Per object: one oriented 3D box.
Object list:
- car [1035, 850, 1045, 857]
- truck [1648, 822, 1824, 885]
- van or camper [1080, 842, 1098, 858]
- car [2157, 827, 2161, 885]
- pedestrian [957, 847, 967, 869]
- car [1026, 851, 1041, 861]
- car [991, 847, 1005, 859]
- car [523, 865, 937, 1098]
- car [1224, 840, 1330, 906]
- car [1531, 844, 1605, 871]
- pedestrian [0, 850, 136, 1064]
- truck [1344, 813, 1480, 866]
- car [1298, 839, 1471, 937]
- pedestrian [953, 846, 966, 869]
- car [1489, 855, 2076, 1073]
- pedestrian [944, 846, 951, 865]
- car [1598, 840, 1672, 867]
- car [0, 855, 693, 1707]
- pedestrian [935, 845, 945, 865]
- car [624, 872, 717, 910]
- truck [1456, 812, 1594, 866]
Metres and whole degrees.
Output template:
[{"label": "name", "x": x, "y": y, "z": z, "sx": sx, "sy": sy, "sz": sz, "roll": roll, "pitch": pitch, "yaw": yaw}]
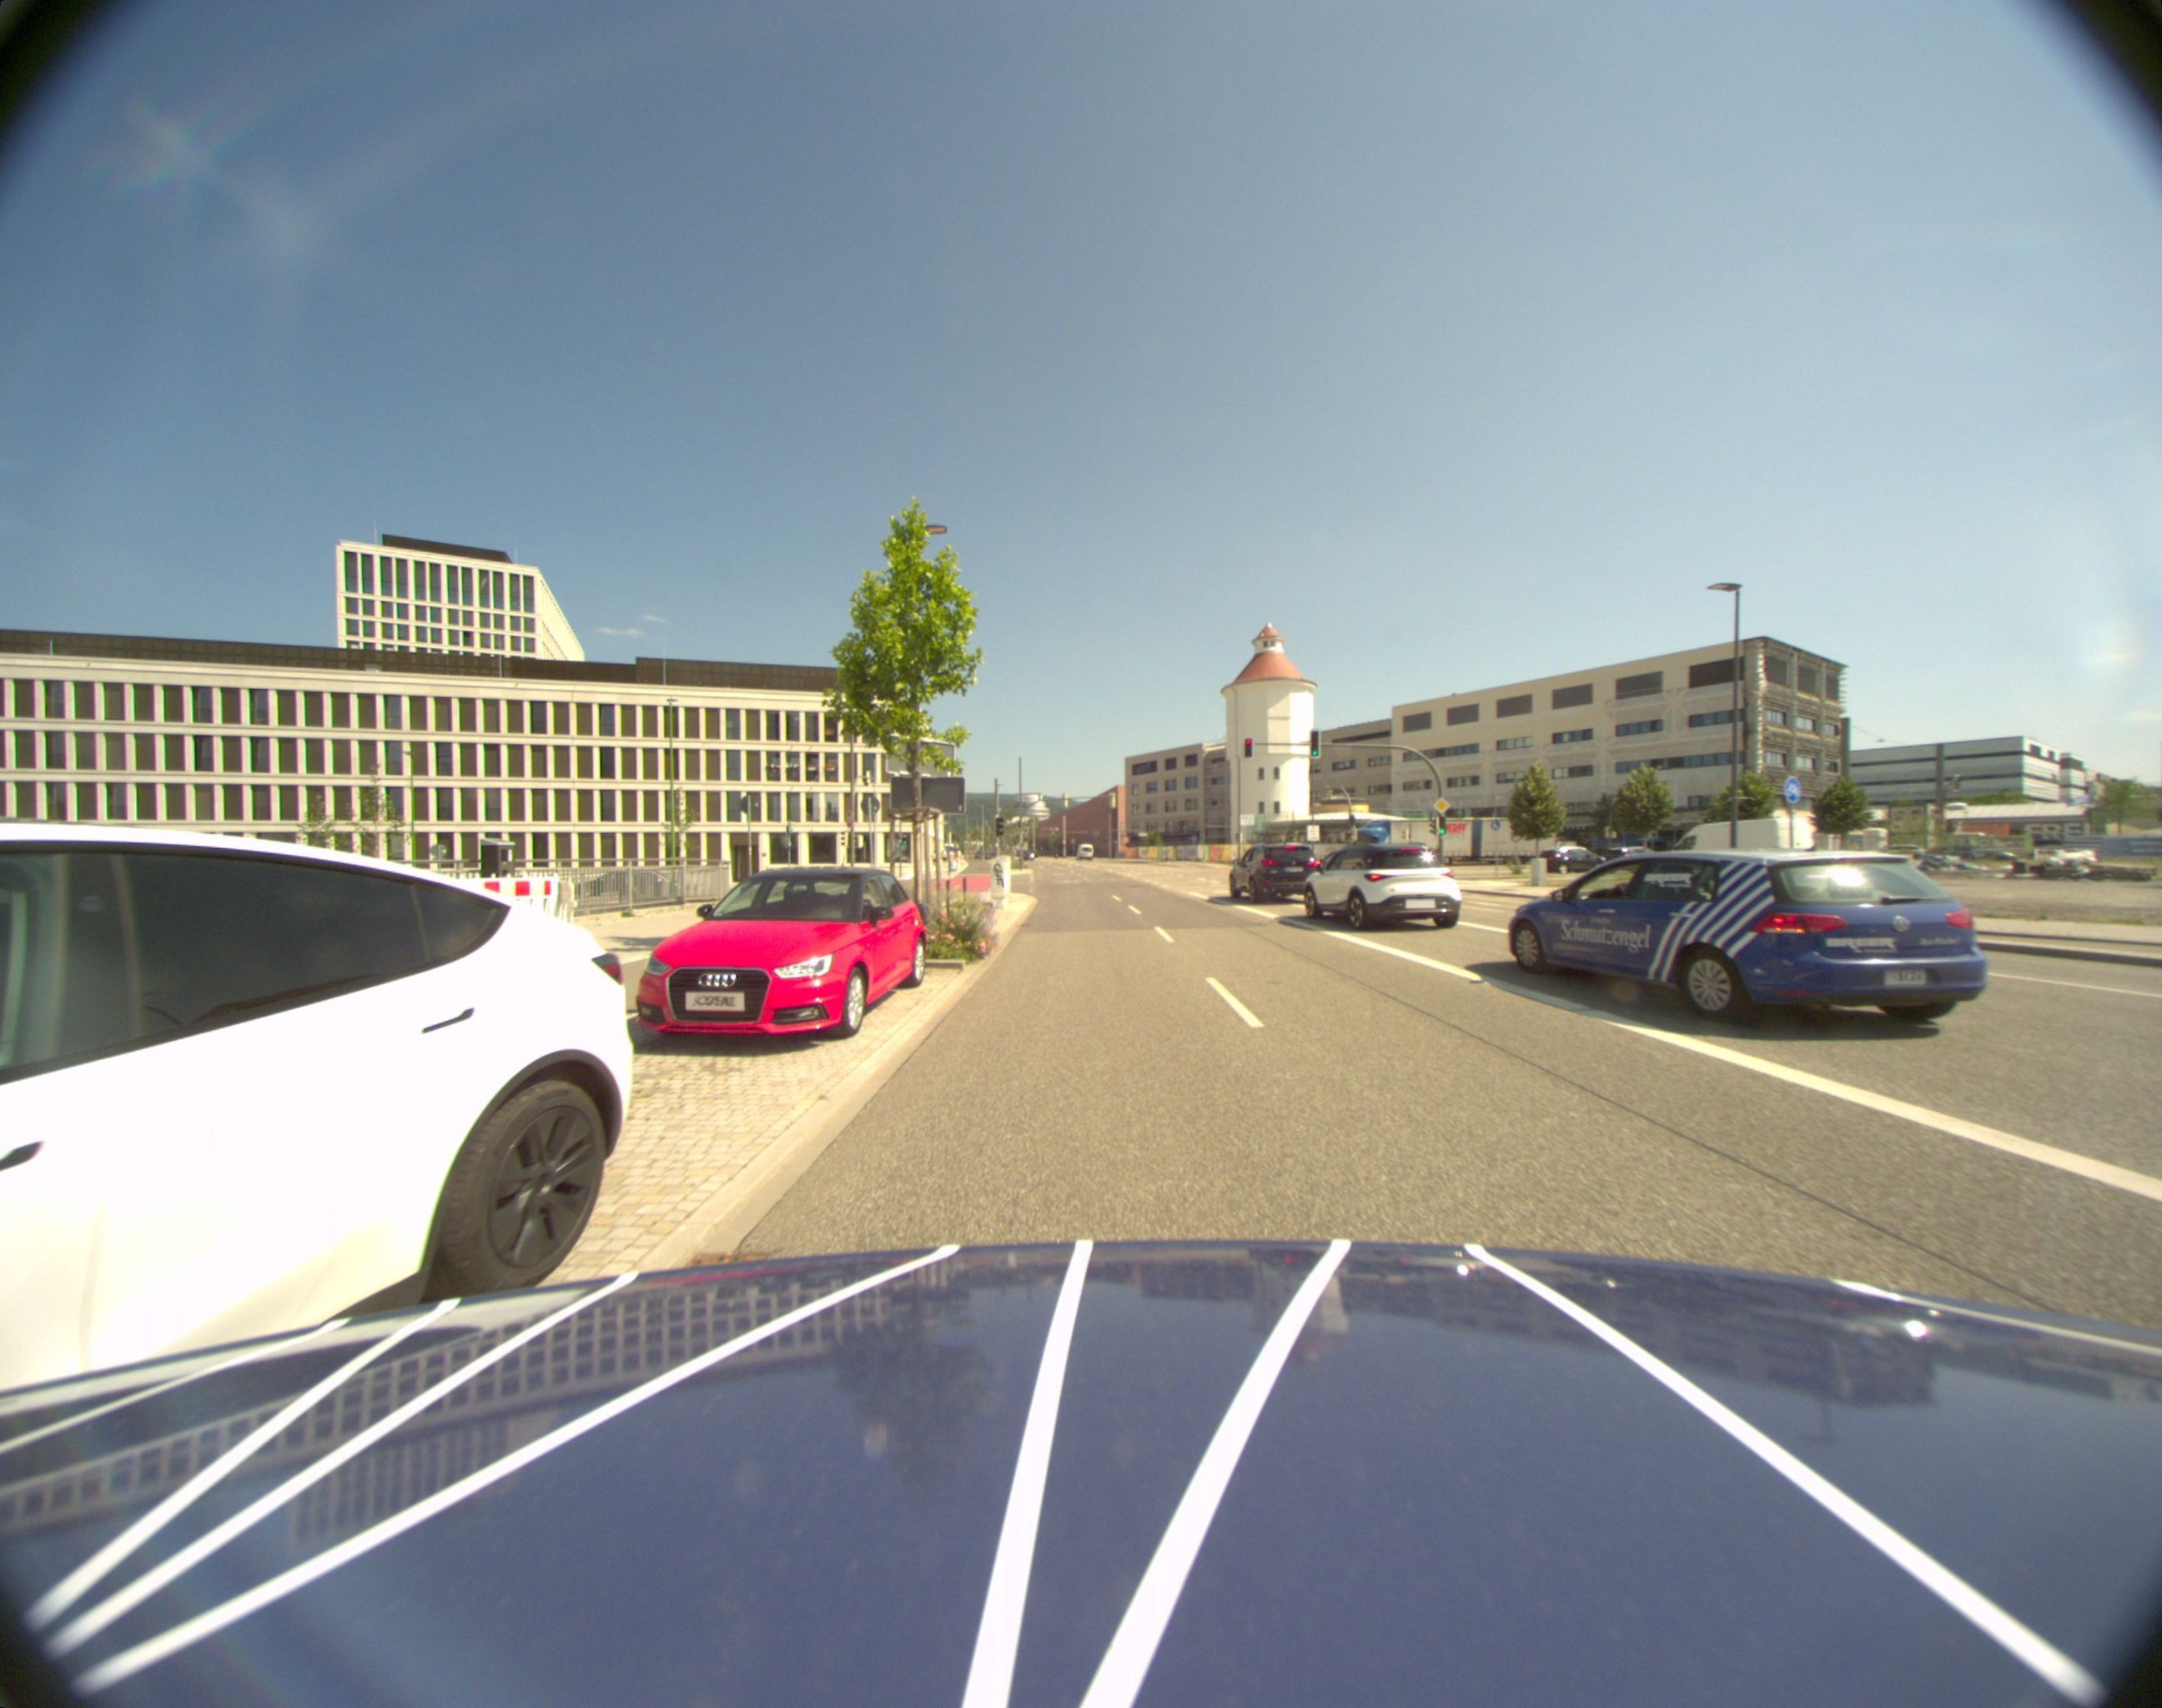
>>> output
[{"label": "car", "x": -9.326, "y": -0.076, "z": 171.828, "sx": 1.803, "sy": 1.581, "sz": 3.967, "roll": 0, "pitch": 1, "yaw": -9}, {"label": "truck", "x": 29.828, "y": -0.073, "z": 34.956, "sx": 2.174, "sy": 2.640, "sz": 5.937, "roll": -1, "pitch": 1, "yaw": -14}, {"label": "van or camper", "x": 1.178, "y": -0.626, "z": 114.005, "sx": 2.159, "sy": 2.400, "sz": 5.677, "roll": 1, "pitch": 1, "yaw": -6}, {"label": "car", "x": 34.256, "y": 0.004, "z": 22.051, "sx": 3.876, "sy": 1.748, "sz": 1.657, "roll": -2, "pitch": 0, "yaw": -2}, {"label": "pedestrian", "x": -9.868, "y": 0.330, "z": 63.148, "sx": 0.702, "sy": 1.714, "sz": 0.796, "roll": -2, "pitch": 1, "yaw": -5}, {"label": "car", "x": -7.671, "y": 0.379, "z": 122.479, "sx": 1.785, "sy": 1.552, "sz": 3.828, "roll": -2, "pitch": 0, "yaw": -12}, {"label": "car", "x": -12.139, "y": -0.187, "z": 110.742, "sx": 1.811, "sy": 1.499, "sz": 3.996, "roll": -2, "pitch": 2, "yaw": -7}, {"label": "car", "x": -2.822, "y": 0.922, "z": 7.287, "sx": 1.998, "sy": 1.510, "sz": 4.000, "roll": -2, "pitch": 0, "yaw": 1}, {"label": "car", "x": 5.891, "y": 0.531, "z": 23.499, "sx": 1.944, "sy": 1.778, "sz": 4.655, "roll": -2, "pitch": 0, "yaw": -1}, {"label": "car", "x": 32.008, "y": 0.201, "z": 49.927, "sx": 4.002, "sy": 1.630, "sz": 1.878, "roll": -2, "pitch": 1, "yaw": -15}, {"label": "pedestrian", "x": -8.563, "y": 0.782, "z": 6.095, "sx": 0.752, "sy": 1.600, "sz": 0.949, "roll": 2, "pitch": 1, "yaw": 1}, {"label": "truck", "x": 28.248, "y": -1.285, "z": 64.823, "sx": 10.987, "sy": 4.045, "sz": 3.297, "roll": -3, "pitch": 2, "yaw": -16}, {"label": "car", "x": 5.937, "y": 0.605, "z": 15.461, "sx": 1.783, "sy": 1.672, "sz": 4.098, "roll": -2, "pitch": 0, "yaw": -1}, {"label": "pedestrian", "x": -9.962, "y": 0.250, "z": 62.323, "sx": 0.880, "sy": 1.816, "sz": 1.664, "roll": -2, "pitch": 1, "yaw": -6}, {"label": "car", "x": 5.966, "y": 0.763, "z": 7.359, "sx": 1.790, "sy": 1.413, "sz": 4.282, "roll": -2, "pitch": 0, "yaw": 1}, {"label": "pedestrian", "x": -12.643, "y": 0.128, "z": 71.976, "sx": 0.579, "sy": 1.710, "sz": 0.996, "roll": 1, "pitch": 2, "yaw": -7}, {"label": "car", "x": 37.370, "y": -0.042, "z": 51.278, "sx": 4.002, "sy": 1.630, "sz": 1.878, "roll": -2, "pitch": 1, "yaw": -15}, {"label": "car", "x": -2.811, "y": 0.866, "z": 1.114, "sx": 1.877, "sy": 1.618, "sz": 4.876, "roll": -2, "pitch": 0, "yaw": 0}, {"label": "pedestrian", "x": -13.236, "y": 0.082, "z": 71.220, "sx": 0.827, "sy": 1.774, "sz": 0.926, "roll": 0, "pitch": 2, "yaw": -7}, {"label": "car", "x": -18.875, "y": 1.641, "z": 35.042, "sx": 1.455, "sy": 1.456, "sz": 3.374, "roll": -1, "pitch": 2, "yaw": 37}, {"label": "truck", "x": 39.397, "y": -1.327, "z": 67.542, "sx": 10.950, "sy": 4.251, "sz": 3.341, "roll": -2, "pitch": 2, "yaw": -10}]
